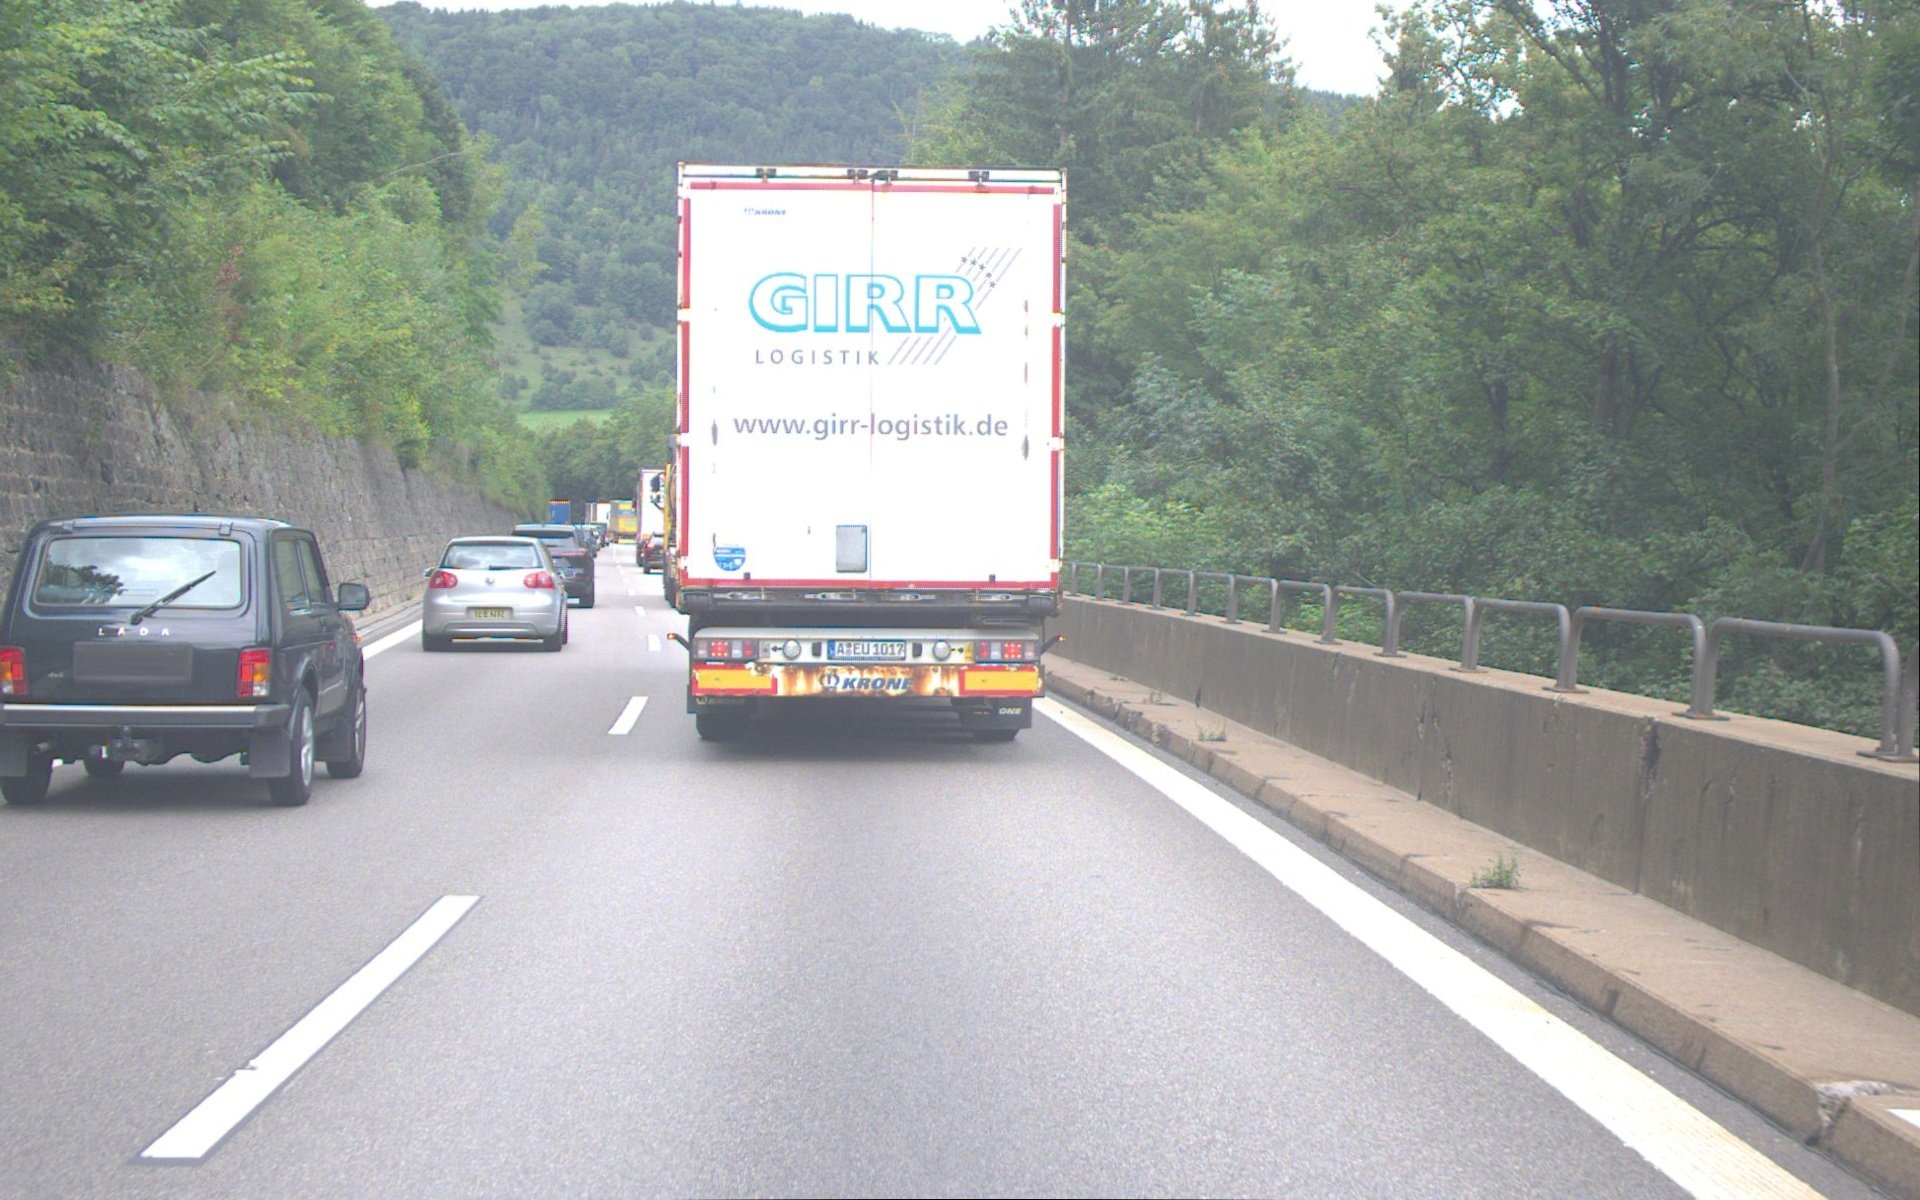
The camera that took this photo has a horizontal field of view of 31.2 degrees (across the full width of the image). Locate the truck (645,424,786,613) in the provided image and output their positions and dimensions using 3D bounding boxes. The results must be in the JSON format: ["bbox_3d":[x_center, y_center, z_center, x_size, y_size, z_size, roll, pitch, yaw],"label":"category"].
[{"bbox_3d":[-5.078,-1.614,70.088,2.485,3.559,9.310,1,1,-6],"label":"truck"}]

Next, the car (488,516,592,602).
[{"bbox_3d":[-8.144,-0.797,66.988,1.916,1.589,4.180,1,1,-6],"label":"car"}]

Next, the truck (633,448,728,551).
[{"bbox_3d":[-11.344,-4.006,140.610,3.510,3.834,11.778,1,0,-3],"label":"truck"}]

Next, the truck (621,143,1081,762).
[{"bbox_3d":[-0.790,-1.020,26.811,2.908,3.947,9.279,1,1,-1],"label":"truck"}]

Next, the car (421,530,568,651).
[{"bbox_3d":[-5.971,-0.141,44.431,1.729,1.481,4.001,1,1,-6],"label":"car"}]

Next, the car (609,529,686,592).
[{"bbox_3d":[-10.381,-1.307,114.481,1.994,2.007,4.000,1,0,2],"label":"car"}]

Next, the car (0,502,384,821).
[{"bbox_3d":[-4.441,0.294,19.839,1.669,1.633,4.068,1,1,-2],"label":"car"}]
